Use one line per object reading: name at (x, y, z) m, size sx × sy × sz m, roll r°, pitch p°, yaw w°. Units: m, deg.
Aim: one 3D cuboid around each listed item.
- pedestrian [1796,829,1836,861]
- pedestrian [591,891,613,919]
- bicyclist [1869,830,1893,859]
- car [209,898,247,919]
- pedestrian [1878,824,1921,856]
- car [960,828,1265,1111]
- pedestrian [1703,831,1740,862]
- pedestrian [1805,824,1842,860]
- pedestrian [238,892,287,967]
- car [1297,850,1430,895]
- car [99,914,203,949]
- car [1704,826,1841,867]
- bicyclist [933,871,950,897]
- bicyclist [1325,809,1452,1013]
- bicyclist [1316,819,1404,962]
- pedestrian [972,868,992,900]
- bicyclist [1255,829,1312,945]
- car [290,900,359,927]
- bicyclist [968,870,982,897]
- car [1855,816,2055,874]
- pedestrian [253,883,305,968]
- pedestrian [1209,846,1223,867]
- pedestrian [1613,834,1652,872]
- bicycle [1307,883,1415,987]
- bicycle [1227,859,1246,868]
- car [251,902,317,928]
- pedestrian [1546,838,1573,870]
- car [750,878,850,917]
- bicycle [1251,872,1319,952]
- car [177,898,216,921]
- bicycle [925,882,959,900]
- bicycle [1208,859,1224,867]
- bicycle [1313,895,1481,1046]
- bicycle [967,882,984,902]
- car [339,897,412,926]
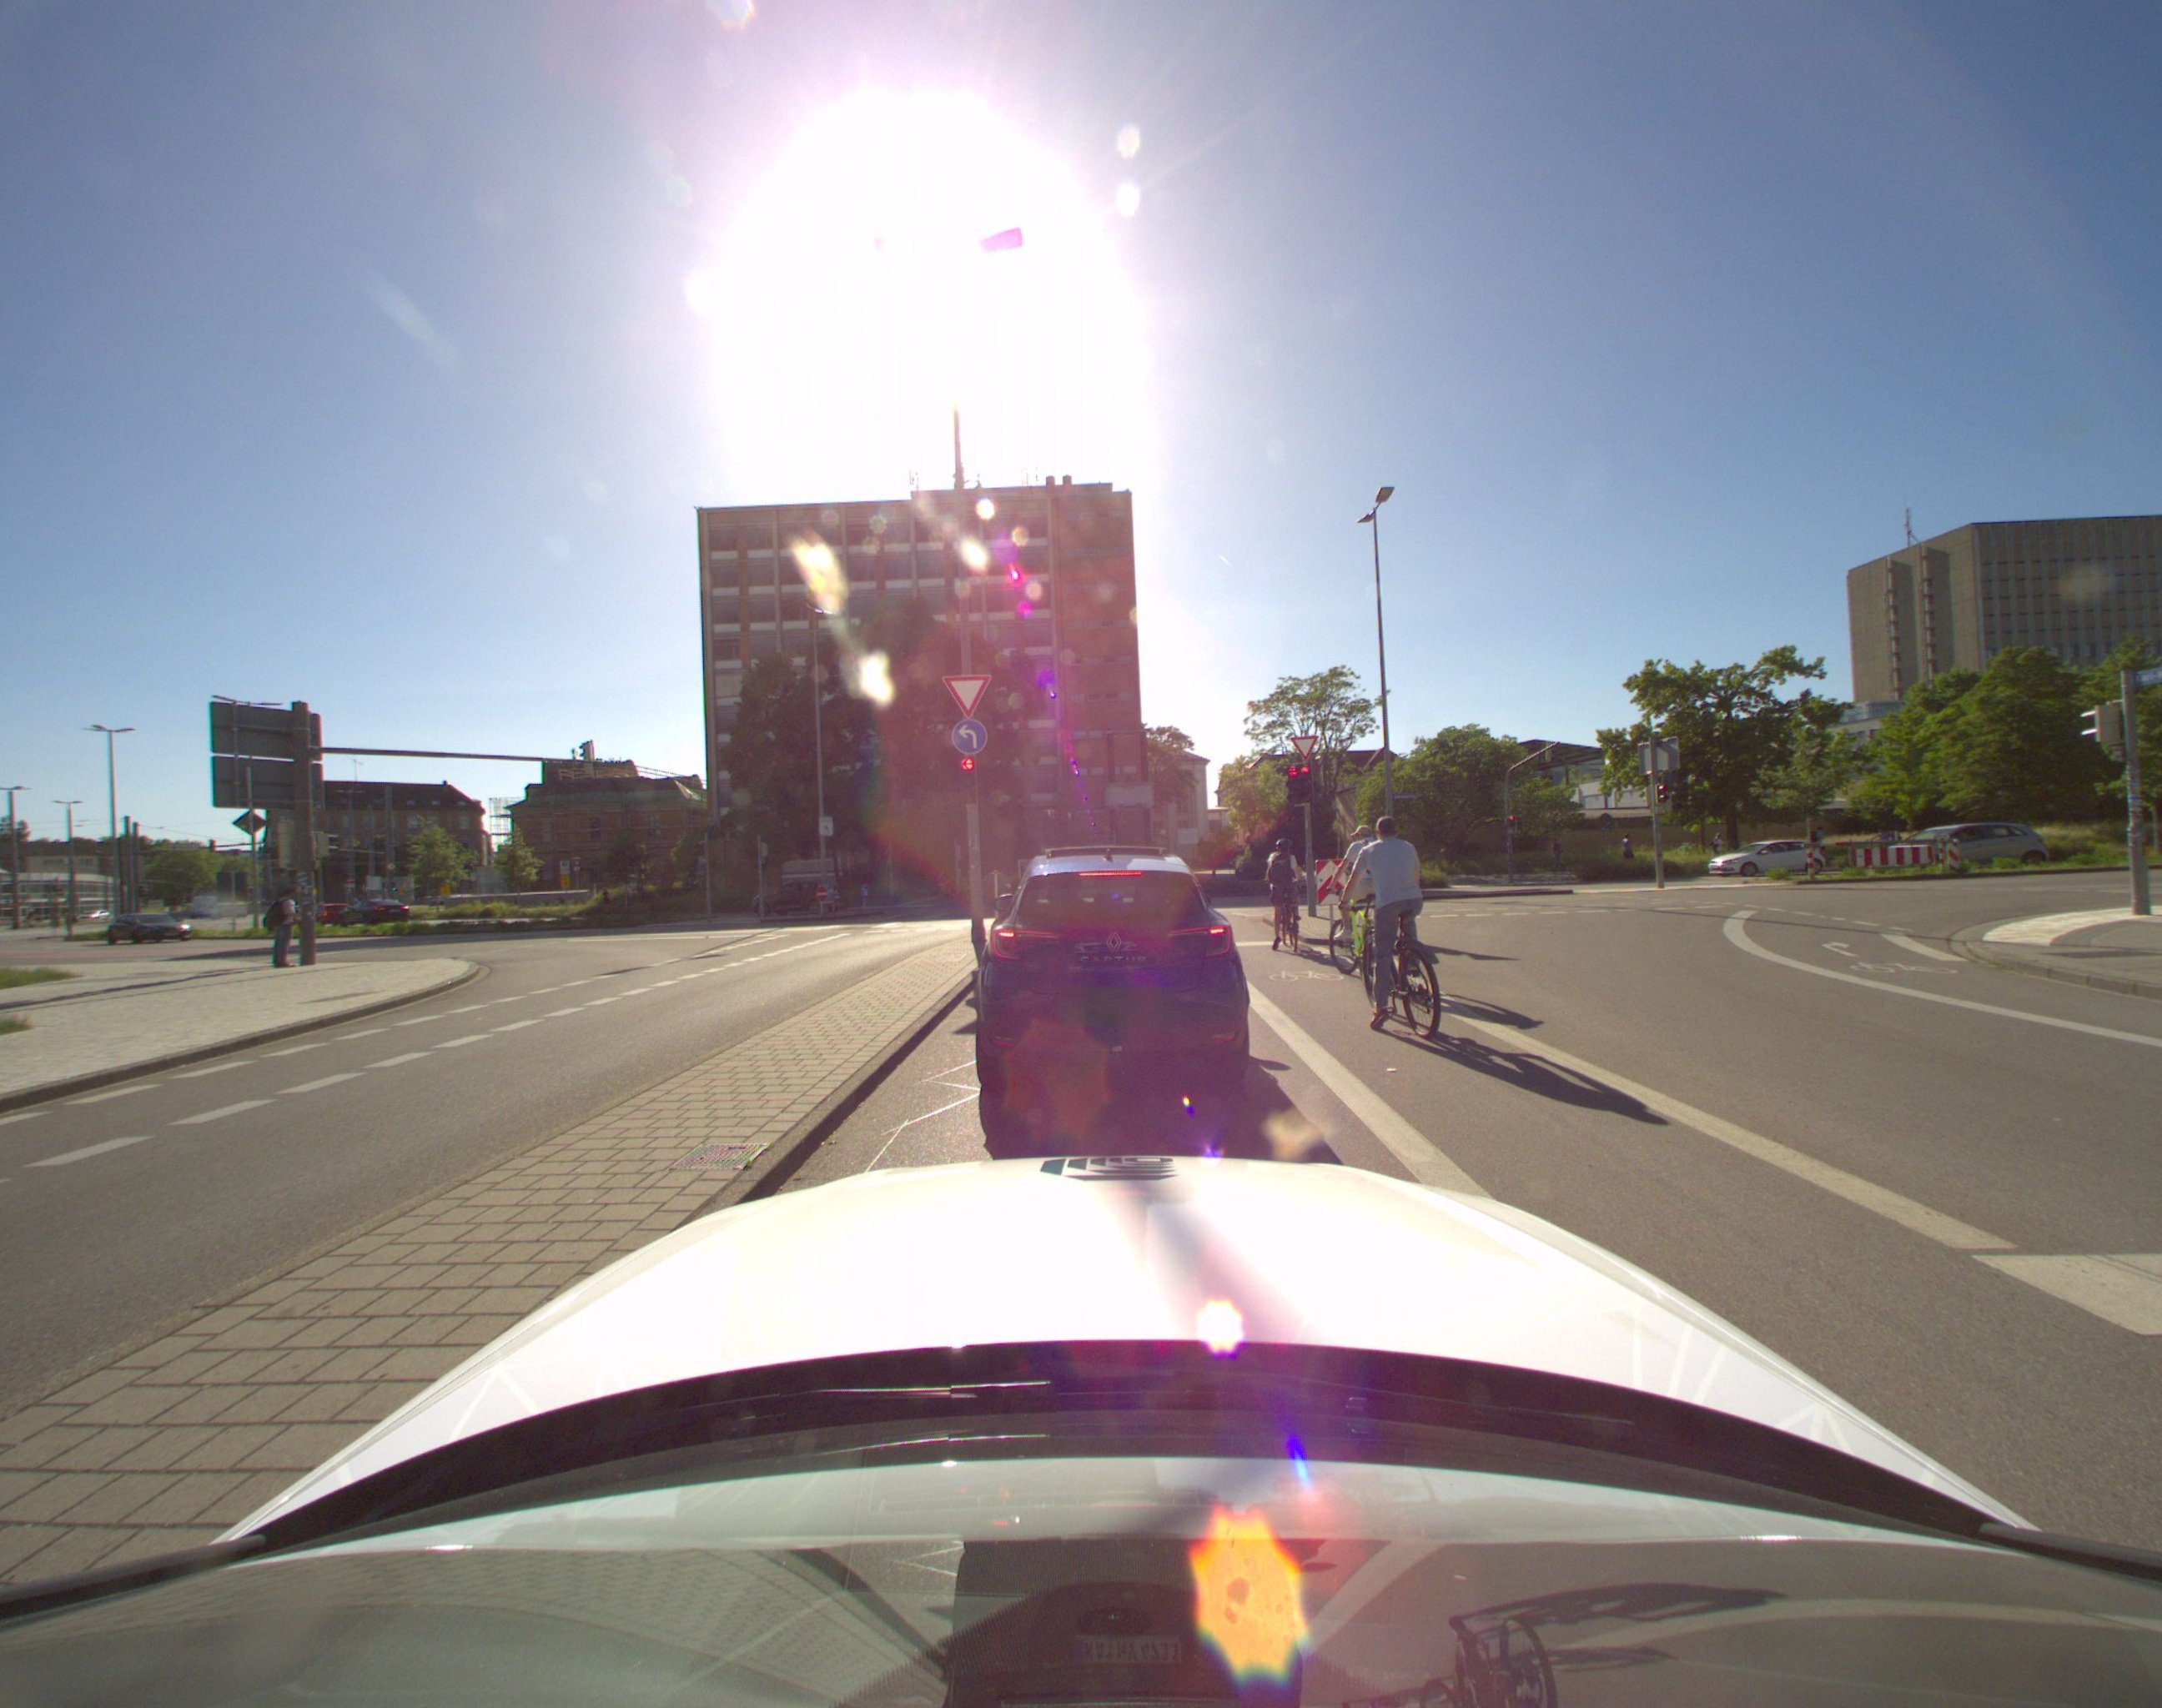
pedestrian at (36.006, -0.423, 39.907) m, size 1.069 × 1.521 × 0.880 m, roll -2°, pitch -1°, yaw 6°
pedestrian at (-34.813, 3.698, 59.174) m, size 0.815 × 2.013 × 1.021 m, roll -3°, pitch -1°, yaw 30°
bicyclist at (37.751, -0.438, 38.435) m, size 0.517 × 1.368 × 0.578 m, roll -2°, pitch -1°, yaw 12°
car at (-89.440, 5.689, 85.360) m, size 4.950 × 2.013 × 2.086 m, roll -3°, pitch -1°, yaw 36°
pedestrian at (40.630, -0.680, 40.430) m, size 1.140 × 1.521 × 0.944 m, roll -2°, pitch -1°, yaw 7°
car at (0.220, 0.686, 6.770) m, size 1.788 × 1.655 × 3.853 m, roll -1°, pitch 0°, yaw 1°
pedestrian at (31.988, -0.374, 40.697) m, size 1.078 × 1.521 × 0.933 m, roll -2°, pitch -1°, yaw 11°
pedestrian at (37.015, -0.581, 40.595) m, size 0.958 × 1.732 × 0.927 m, roll -2°, pitch -1°, yaw 5°
pedestrian at (-19.260, 1.771, 19.169) m, size 0.627 × 1.697 × 0.608 m, roll -3°, pitch -1°, yaw 25°
car at (11.496, 0.749, 33.442) m, size 4.835 × 1.593 × 1.943 m, roll -3°, pitch -1°, yaw 8°
car at (-44.974, 3.734, 39.399) m, size 3.953 × 1.389 × 2.010 m, roll -4°, pitch -1°, yaw 21°
car at (28.805, -0.273, 34.033) m, size 3.932 × 1.491 × 1.815 m, roll -2°, pitch -2°, yaw 8°
bicyclist at (-8.016, 1.733, 46.850) m, size 0.631 × 1.412 × 0.652 m, roll -3°, pitch -1°, yaw 21°
bicyclist at (2.706, 0.480, 7.251) m, size 0.737 × 1.674 × 0.865 m, roll -2°, pitch -1°, yaw 0°
bicyclist at (3.256, 0.410, 9.596) m, size 0.672 × 1.583 × 1.081 m, roll 0°, pitch 0°, yaw 1°
pedestrian at (-5.939, 1.787, 48.775) m, size 0.926 × 1.855 × 0.809 m, roll -3°, pitch -1°, yaw 11°
bicyclist at (3.228, 0.507, 13.061) m, size 0.674 × 1.785 × 0.939 m, roll -1°, pitch -1°, yaw 0°
car at (-47.963, 3.781, 51.640) m, size 3.771 × 1.518 × 2.012 m, roll -3°, pitch -1°, yaw 27°
bicyclist at (-5.763, 1.595, 44.169) m, size 0.648 × 1.412 × 0.635 m, roll -2°, pitch -3°, yaw -14°
car at (28.019, -0.266, 26.249) m, size 4.103 × 1.606 × 1.915 m, roll -2°, pitch 0°, yaw 7°
pedestrian at (-18.163, 1.613, 18.449) m, size 0.673 × 1.855 × 0.608 m, roll -3°, pitch -1°, yaw 25°
pedestrian at (13.659, 0.273, 82.232) m, size 1.152 × 2.013 × 1.165 m, roll -2°, pitch -1°, yaw 2°
pedestrian at (27.873, -0.067, 41.179) m, size 1.288 × 1.855 × 0.969 m, roll -3°, pitch -1°, yaw 13°
bicycle at (3.261, 0.900, 9.671) m, size 0.669 × 1.050 × 1.844 m, roll 0°, pitch 0°, yaw 1°
bicycle at (15.808, 0.949, 82.832) m, size 1.770 × 0.823 × 0.763 m, roll -2°, pitch -1°, yaw -9°
car at (-53.582, 4.089, 54.755) m, size 3.771 × 1.518 × 2.012 m, roll -3°, pitch -1°, yaw 27°
pedestrian at (24.895, -0.005, 42.377) m, size 0.974 × 1.604 × 0.830 m, roll -3°, pitch -1°, yaw 15°
car at (-12.981, 2.006, 37.687) m, size 3.958 × 1.570 × 1.843 m, roll -3°, pitch -1°, yaw 14°
bicycle at (3.222, 0.880, 13.023) m, size 0.613 × 1.138 × 1.826 m, roll -2°, pitch 0°, yaw 0°
car at (-105.182, 6.545, 96.840) m, size 6.869 × 2.547 × 3.031 m, roll -3°, pitch -1°, yaw 42°
bicycle at (-8.012, 2.146, 46.856) m, size 1.849 × 0.958 × 0.627 m, roll -3°, pitch -1°, yaw 20°
bicycle at (15.699, 1.059, 94.643) m, size 1.764 × 0.898 × 0.766 m, roll -2°, pitch -1°, yaw 2°
bicycle at (2.734, 0.954, 7.298) m, size 0.745 × 1.050 × 1.903 m, roll -3°, pitch 0°, yaw 1°
bicycle at (-5.757, 2.071, 44.211) m, size 0.699 × 1.007 × 1.859 m, roll -3°, pitch -3°, yaw -13°
car at (-42.389, 3.454, 48.906) m, size 3.771 × 1.518 × 2.012 m, roll -3°, pitch -1°, yaw 27°
